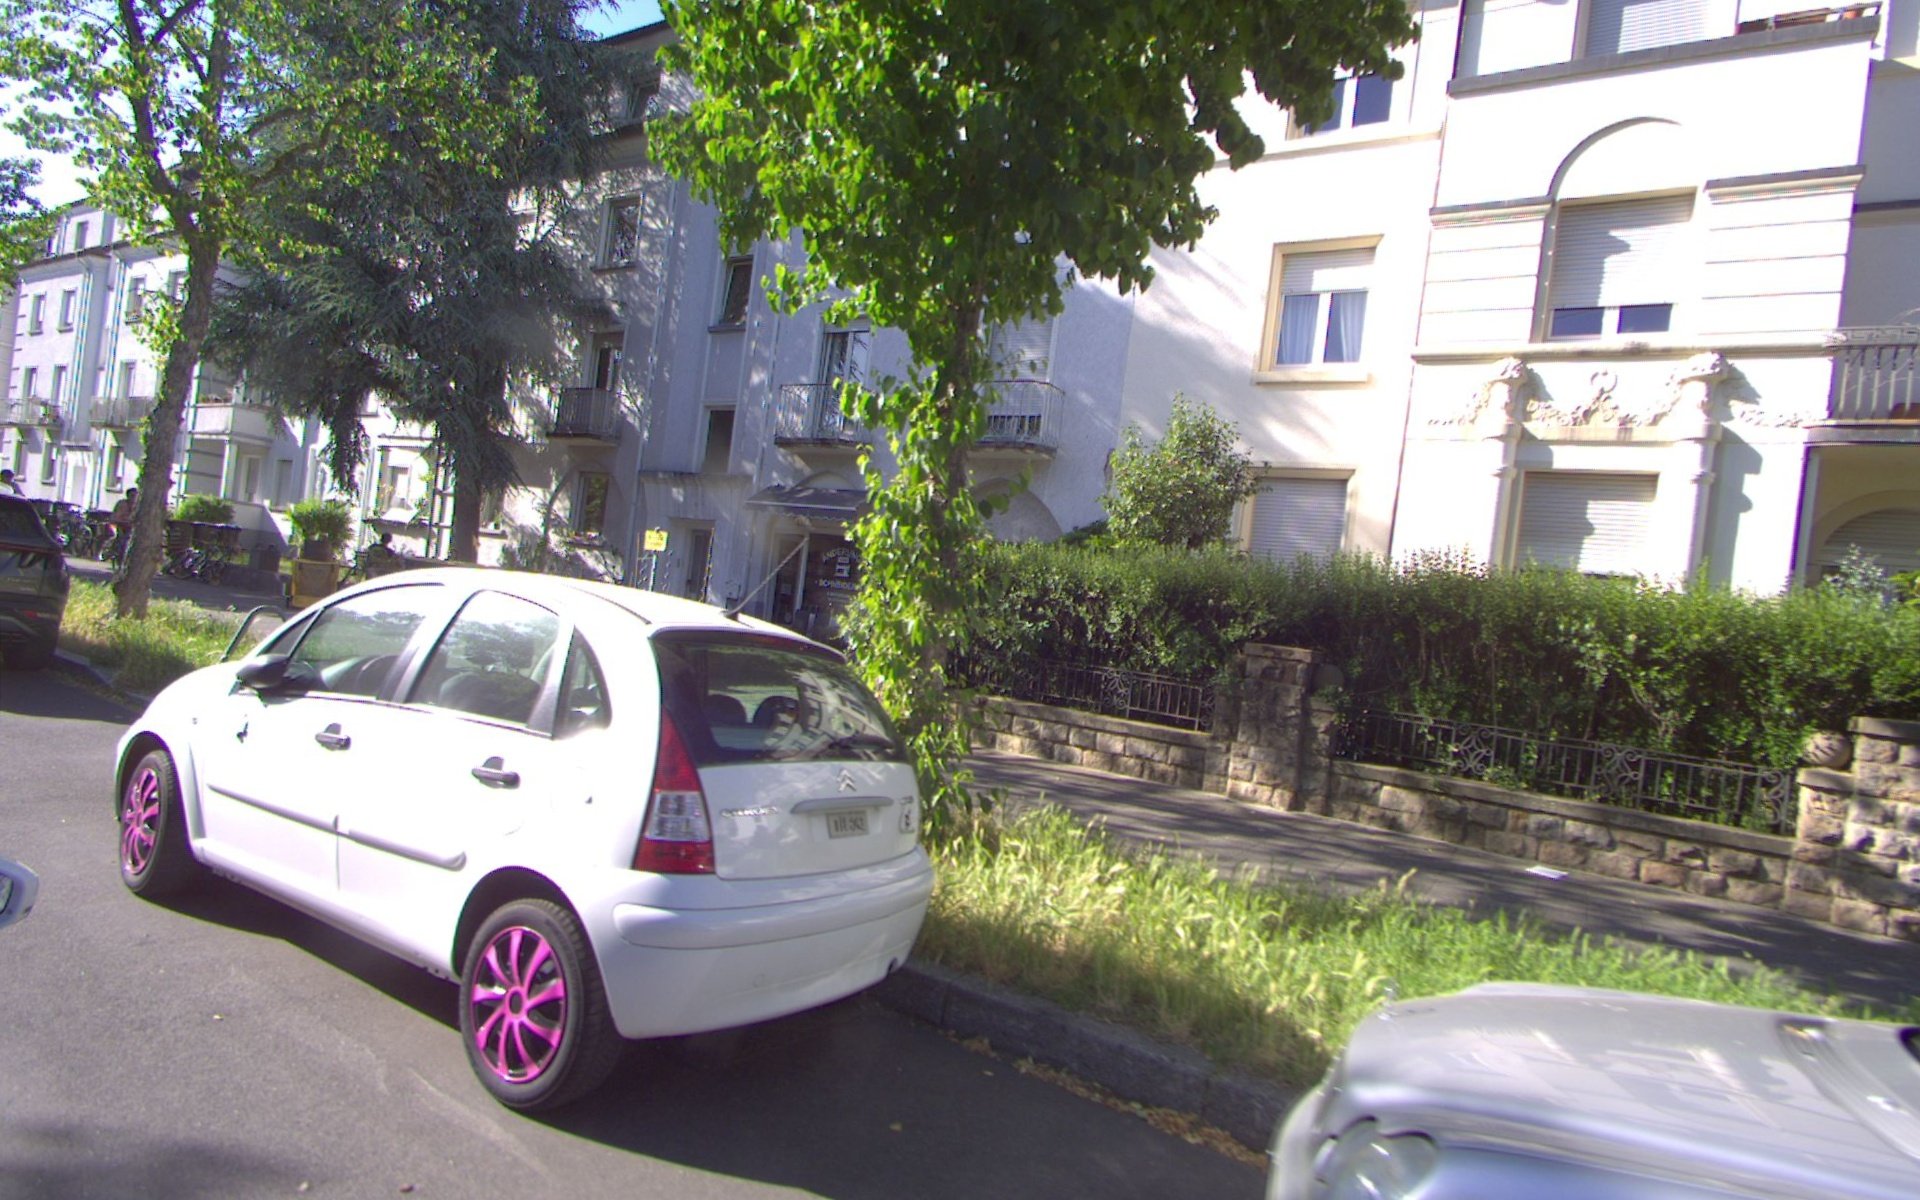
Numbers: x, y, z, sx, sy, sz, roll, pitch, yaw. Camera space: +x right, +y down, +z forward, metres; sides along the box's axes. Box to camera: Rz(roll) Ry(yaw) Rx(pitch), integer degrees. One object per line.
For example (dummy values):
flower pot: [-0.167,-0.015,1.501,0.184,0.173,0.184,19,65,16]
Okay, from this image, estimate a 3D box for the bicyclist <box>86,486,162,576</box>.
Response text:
bicyclist: [-15.945,-1.311,19.189,1.004,1.573,0.677,7,1,29]

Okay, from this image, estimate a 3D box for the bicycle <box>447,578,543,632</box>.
bicycle: [-7.797,0.099,16.906,0.464,0.766,1.363,7,0,35]

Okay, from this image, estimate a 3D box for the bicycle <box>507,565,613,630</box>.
bicycle: [-8.059,-0.029,20.347,0.574,1.114,1.897,7,0,35]

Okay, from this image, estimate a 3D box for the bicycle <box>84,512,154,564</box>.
bicycle: [-18.786,-1.390,22.465,1.872,0.969,0.596,7,1,32]

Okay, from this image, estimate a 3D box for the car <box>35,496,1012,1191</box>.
car: [-1.971,0.600,4.245,3.902,1.549,1.658,7,-2,31]

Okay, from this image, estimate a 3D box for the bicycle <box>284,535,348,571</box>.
bicycle: [-19.643,-1.424,30.717,0.467,0.984,1.581,7,2,25]

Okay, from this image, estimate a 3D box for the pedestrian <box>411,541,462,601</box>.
pedestrian: [-10.948,-0.606,21.052,0.743,1.156,0.510,7,0,30]

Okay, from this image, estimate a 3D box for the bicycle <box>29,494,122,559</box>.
bicycle: [-20.804,-1.736,23.647,2.193,1.272,0.840,7,0,28]

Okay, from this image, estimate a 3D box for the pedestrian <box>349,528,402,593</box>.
pedestrian: [-11.376,-0.770,19.572,0.744,1.156,0.510,7,0,34]

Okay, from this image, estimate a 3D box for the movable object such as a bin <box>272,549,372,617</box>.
movable object such as a bin: [-10.754,-0.300,16.935,1.215,0.916,1.647,7,0,-37]

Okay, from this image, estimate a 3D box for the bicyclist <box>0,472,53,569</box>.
bicyclist: [-16.977,-1.442,18.041,0.906,1.630,0.678,7,1,29]

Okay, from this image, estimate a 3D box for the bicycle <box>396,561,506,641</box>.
bicycle: [-7.743,0.009,15.270,1.873,0.987,0.581,7,1,34]

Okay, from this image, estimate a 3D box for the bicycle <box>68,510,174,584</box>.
bicycle: [-16.055,-1.026,19.237,2.362,1.168,0.685,7,1,29]

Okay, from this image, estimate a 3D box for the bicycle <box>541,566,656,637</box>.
bicycle: [-6.573,0.056,18.390,0.574,1.114,1.897,7,0,35]

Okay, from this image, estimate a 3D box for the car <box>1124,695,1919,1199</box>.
car: [2.764,1.213,1.257,4.780,1.427,1.715,7,-2,31]

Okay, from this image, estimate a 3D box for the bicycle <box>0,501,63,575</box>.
bicycle: [-17.154,-1.175,18.120,2.362,1.168,0.685,7,1,29]

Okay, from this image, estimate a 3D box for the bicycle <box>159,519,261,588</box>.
bicycle: [-15.006,-0.934,20.119,1.966,1.129,0.805,7,-1,29]

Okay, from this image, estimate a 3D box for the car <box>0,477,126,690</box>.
car: [-9.891,-0.425,9.247,5.012,1.670,1.929,7,-2,34]
